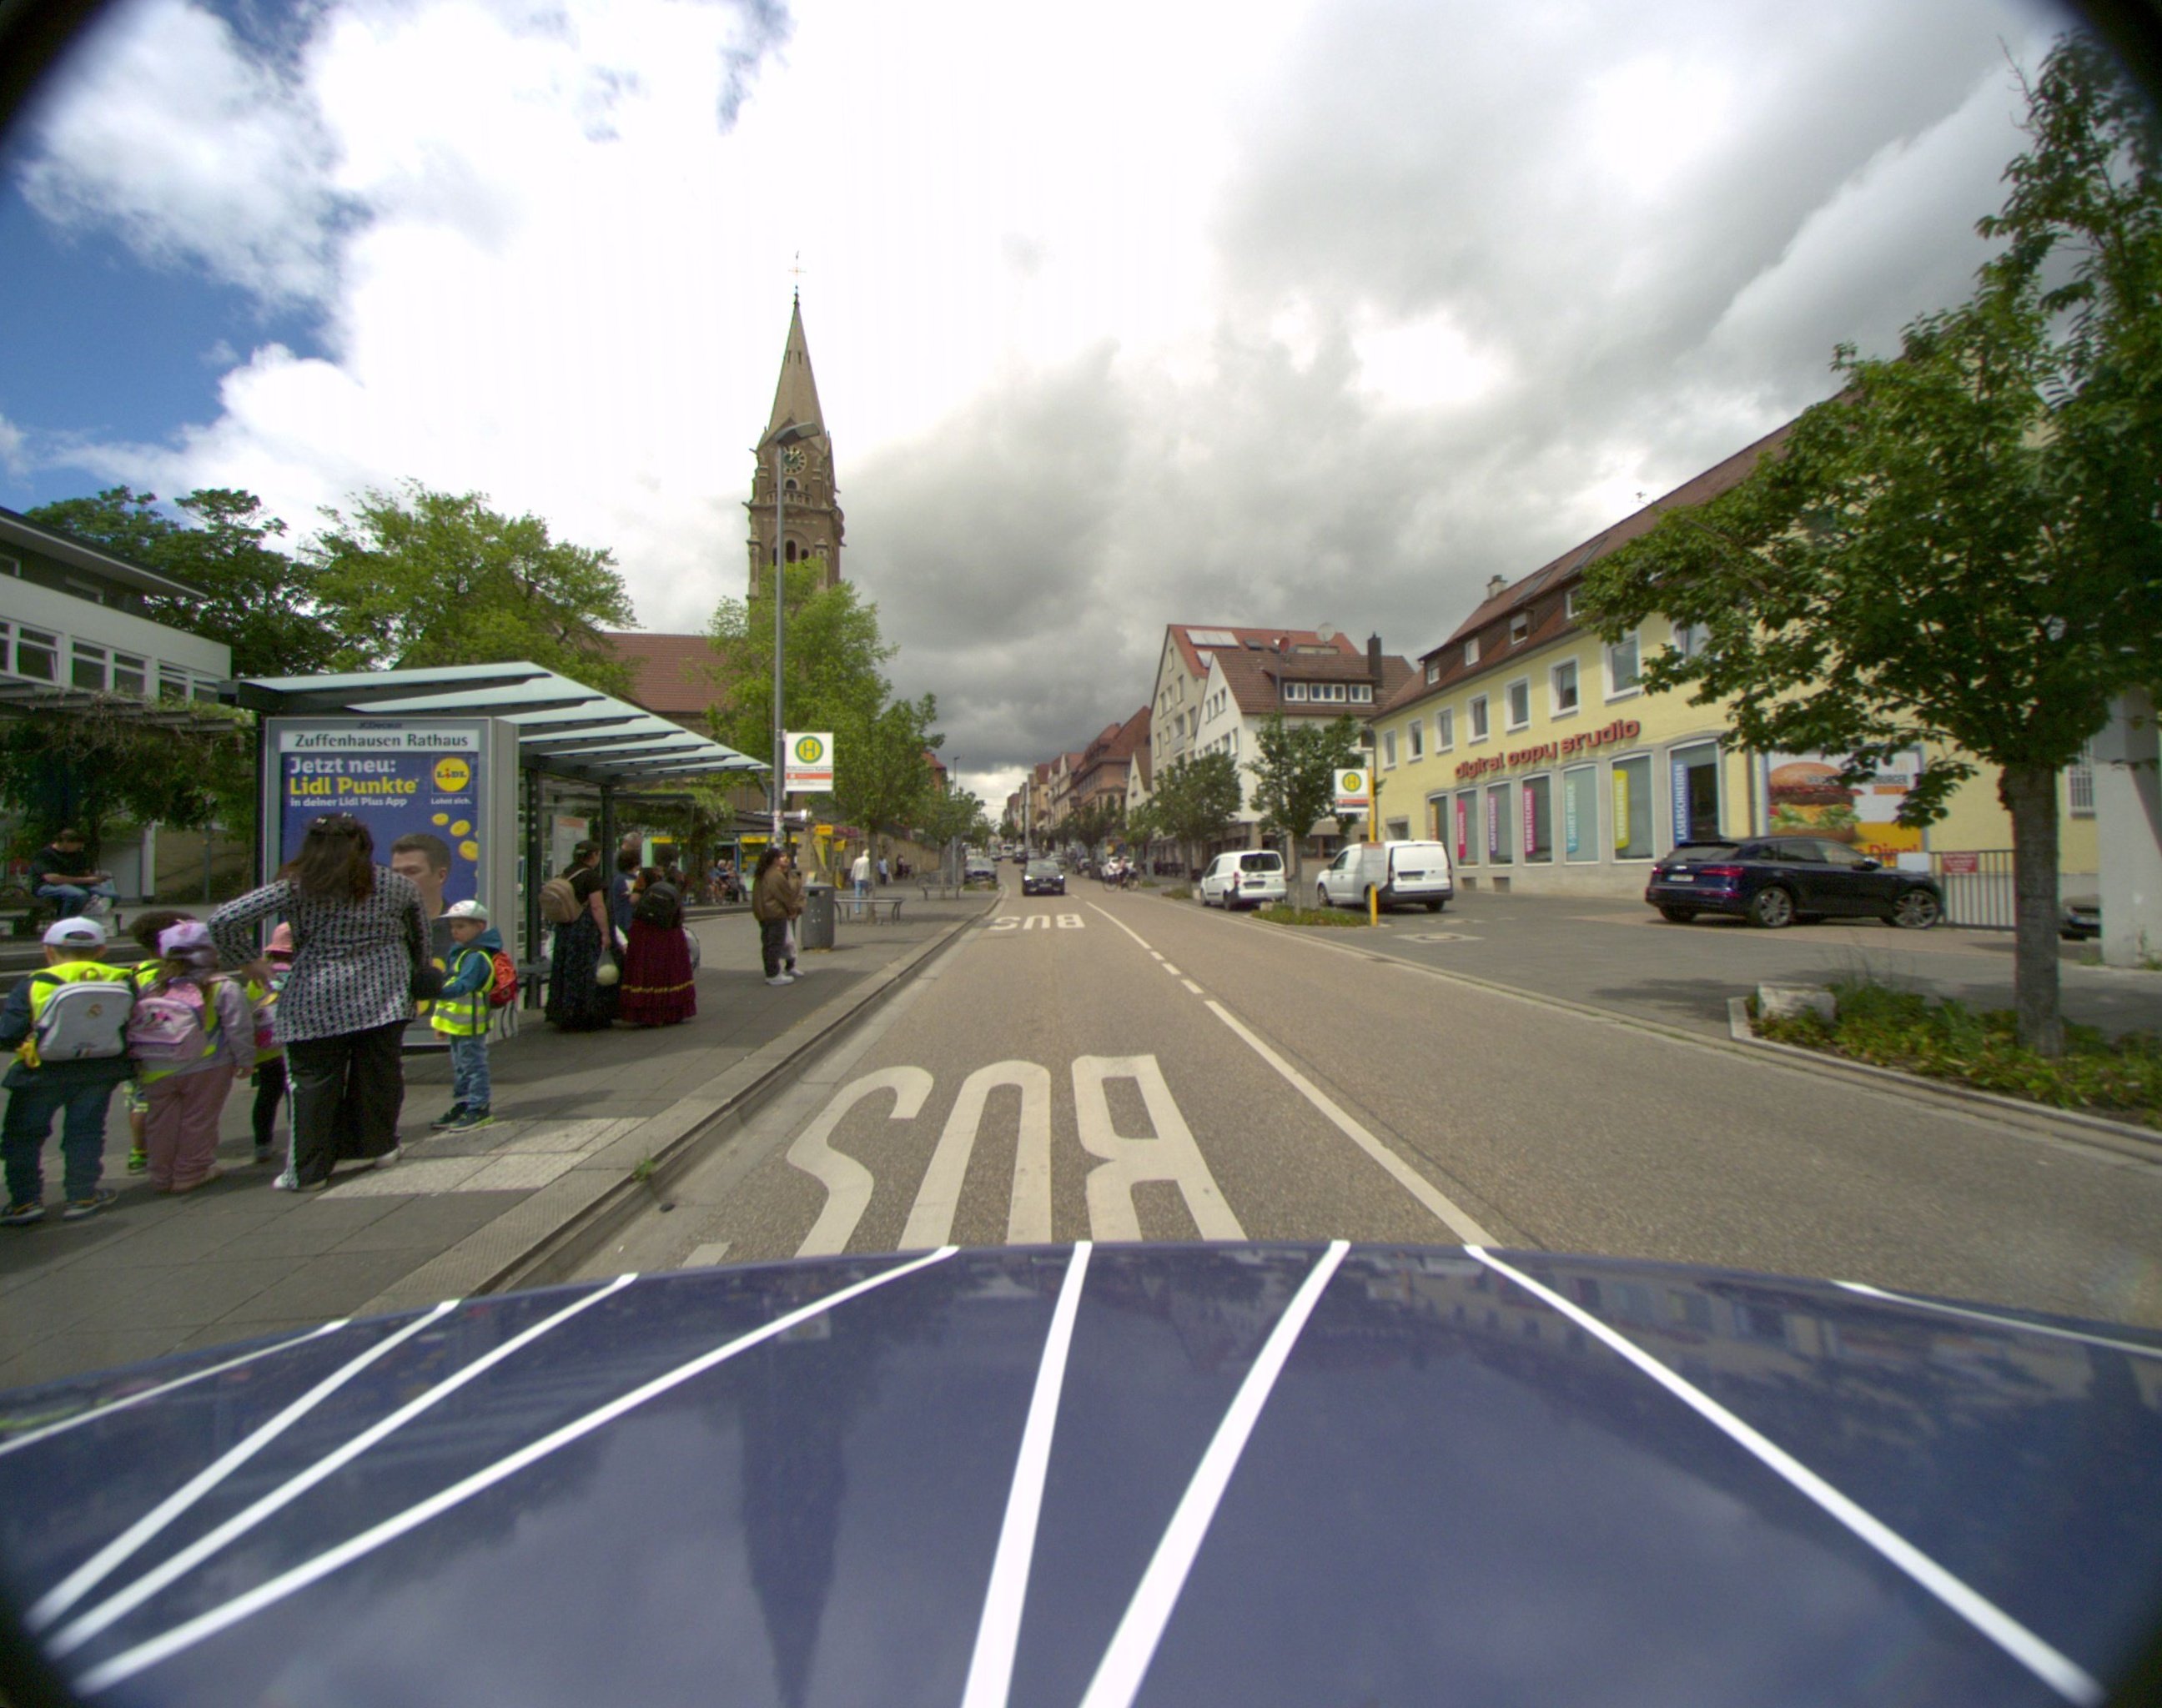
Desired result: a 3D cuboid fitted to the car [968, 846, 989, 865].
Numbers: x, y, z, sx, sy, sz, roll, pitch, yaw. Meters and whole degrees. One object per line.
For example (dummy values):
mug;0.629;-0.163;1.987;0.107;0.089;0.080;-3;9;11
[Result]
car;-10.722;0.141;79.916;1.890;1.837;5.027;0;2;-4

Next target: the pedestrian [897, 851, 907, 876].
pedestrian;-12.078;0.654;51.278;0.474;1.636;0.506;0;2;3

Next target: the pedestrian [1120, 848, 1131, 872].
pedestrian;3.313;0.429;56.845;0.662;1.751;0.777;-1;2;-11

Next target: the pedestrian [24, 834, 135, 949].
pedestrian;-11.853;0.435;9.006;0.569;1.316;0.546;-2;0;7

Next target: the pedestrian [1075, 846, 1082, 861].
pedestrian;-0.265;-0.059;83.657;0.615;1.573;0.641;-1;2;-11

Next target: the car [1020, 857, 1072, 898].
car;-1.614;1.022;34.081;1.896;1.516;3.731;-2;2;-9

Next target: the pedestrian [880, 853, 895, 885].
pedestrian;-10.459;0.817;41.028;0.763;1.720;0.597;1;0;-17

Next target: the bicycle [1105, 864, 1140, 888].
bicycle;1.970;1.054;36.192;1.656;1.081;0.412;-1;3;-24

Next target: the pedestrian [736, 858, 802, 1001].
pedestrian;-3.515;0.816;8.562;0.542;1.540;0.487;0;0;41

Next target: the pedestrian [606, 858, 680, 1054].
pedestrian;-3.657;0.810;6.370;0.502;1.557;0.496;0;0;-27

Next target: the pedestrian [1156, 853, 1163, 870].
pedestrian;5.771;0.535;56.005;0.396;1.242;0.499;-2;1;-8

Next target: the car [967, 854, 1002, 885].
car;-5.848;0.870;45.675;1.935;1.714;4.569;0;0;-9

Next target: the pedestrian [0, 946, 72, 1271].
pedestrian;-4.064;0.952;2.878;0.253;1.167;0.250;1;1;-45

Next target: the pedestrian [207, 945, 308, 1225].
pedestrian;-3.725;1.010;3.443;0.297;1.145;0.294;1;1;43

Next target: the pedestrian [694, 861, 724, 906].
pedestrian;-10.618;0.837;21.704;0.569;1.254;0.542;0;-2;1

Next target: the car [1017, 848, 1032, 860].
car;-6.709;0.017;89.652;1.612;1.380;3.626;0;1;-7

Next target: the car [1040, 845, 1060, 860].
car;-3.580;-0.208;87.002;1.670;1.518;3.958;-3;2;-10

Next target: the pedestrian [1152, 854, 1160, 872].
pedestrian;5.392;0.630;54.429;0.422;1.292;0.453;-2;1;-8

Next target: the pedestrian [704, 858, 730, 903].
pedestrian;-10.671;0.780;22.272;0.499;1.312;0.525;0;-2;1

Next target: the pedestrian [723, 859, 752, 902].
pedestrian;-10.681;0.825;23.652;0.617;1.312;0.586;0;-2;0

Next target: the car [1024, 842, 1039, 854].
car;-7.052;-0.871;107.983;1.733;1.670;3.987;-1;2;-9

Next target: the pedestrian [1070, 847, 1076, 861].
pedestrian;-0.901;-0.007;83.678;0.497;1.469;0.528;-1;2;-11

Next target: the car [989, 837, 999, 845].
car;-18.984;-2.889;165.798;1.832;1.680;3.854;0;2;-9

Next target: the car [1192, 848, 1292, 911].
car;4.777;0.696;23.190;1.661;1.662;4.348;-2;0;-7

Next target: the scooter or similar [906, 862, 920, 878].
scooter or similar;-11.359;1.058;51.357;0.814;1.066;0.560;0;2;3

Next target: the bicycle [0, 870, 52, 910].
bicycle;-31.532;1.042;21.923;2.031;1.135;0.686;2;-2;-36

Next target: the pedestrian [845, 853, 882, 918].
pedestrian;-5.709;0.819;20.004;0.686;1.672;0.715;0;1;8

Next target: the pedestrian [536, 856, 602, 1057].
pedestrian;-4.118;0.793;6.131;0.395;1.557;0.351;0;0;-27

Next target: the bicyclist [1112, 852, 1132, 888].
bicyclist;1.954;0.740;36.163;0.779;1.685;0.509;-1;1;-24

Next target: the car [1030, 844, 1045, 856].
car;-5.774;-0.585;100.357;1.733;1.423;3.499;-1;2;-9

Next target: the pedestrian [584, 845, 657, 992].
pedestrian;-5.385;0.732;8.912;0.513;1.670;0.576;0;0;-3

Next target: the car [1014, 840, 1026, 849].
car;-10.030;-1.585;125.035;1.691;1.516;3.525;-1;2;-9

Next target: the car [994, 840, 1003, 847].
car;-16.686;-2.115;153.376;1.687;1.492;4.149;0;2;-9

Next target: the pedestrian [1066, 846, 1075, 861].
pedestrian;-1.176;-0.054;85.267;0.873;1.657;0.905;-1;2;-11

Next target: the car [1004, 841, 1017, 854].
car;-10.234;-1.007;110.433;1.752;1.792;4.208;1;1;-7

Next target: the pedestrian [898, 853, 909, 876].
pedestrian;-11.825;0.712;50.619;0.590;1.515;0.584;0;1;5

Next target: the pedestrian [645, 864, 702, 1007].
pedestrian;-4.231;0.830;7.903;0.378;1.434;0.415;1;0;-9

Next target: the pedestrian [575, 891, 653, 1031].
pedestrian;-4.295;0.961;7.016;0.378;1.204;0.633;1;0;-9

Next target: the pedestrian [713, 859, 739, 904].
pedestrian;-10.703;0.828;22.901;0.496;1.312;0.575;0;-2;0

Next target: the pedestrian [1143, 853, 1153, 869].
pedestrian;5.199;0.523;59.195;0.597;1.240;0.598;-2;2;-8

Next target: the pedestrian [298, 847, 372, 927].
pedestrian;-11.724;0.515;11.953;0.569;1.220;0.566;-2;0;7

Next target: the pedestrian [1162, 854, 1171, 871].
pedestrian;6.162;0.610;54.763;0.428;1.242;0.566;-2;1;-8

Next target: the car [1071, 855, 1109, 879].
car;0.584;0.887;53.971;1.845;1.443;4.510;-2;2;-11

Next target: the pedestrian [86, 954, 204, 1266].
pedestrian;-3.816;1.010;3.109;0.265;1.154;0.270;1;1;-43

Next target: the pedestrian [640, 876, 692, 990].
pedestrian;-4.898;0.919;8.978;0.390;1.298;0.355;1;0;-1

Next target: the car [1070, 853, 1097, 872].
car;0.176;0.711;63.154;1.662;1.384;4.439;-1;2;-7

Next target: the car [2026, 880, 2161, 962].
car;21.072;1.228;14.623;3.998;1.401;1.649;0;0;-4

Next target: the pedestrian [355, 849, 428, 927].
pedestrian;-11.614;0.553;12.798;0.769;1.262;0.678;-1;0;30

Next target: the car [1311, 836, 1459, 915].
car;7.913;0.509;20.302;1.761;1.803;4.474;-3;0;-6

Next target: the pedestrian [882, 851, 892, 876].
pedestrian;-12.672;0.617;49.611;0.474;1.636;0.506;0;2;3

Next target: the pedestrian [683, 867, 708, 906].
pedestrian;-10.769;0.903;21.229;0.477;1.082;0.368;0;-2;1

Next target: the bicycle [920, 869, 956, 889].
bicycle;-7.177;1.245;38.139;1.733;0.990;0.345;0;1;-12

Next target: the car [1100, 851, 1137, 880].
car;2.303;0.656;47.359;1.670;1.637;4.131;-2;1;-6

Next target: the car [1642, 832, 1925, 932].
car;12.358;0.454;13.502;3.638;1.549;1.668;-2;1;-5

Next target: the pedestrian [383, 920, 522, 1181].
pedestrian;-3.220;0.969;3.906;0.403;1.219;0.389;0;0;19

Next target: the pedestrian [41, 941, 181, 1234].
pedestrian;-4.204;0.974;3.308;0.319;1.145;0.321;1;0;-42

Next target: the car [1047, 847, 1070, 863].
car;-2.441;0.074;79.732;1.731;1.565;4.449;-1;2;-10

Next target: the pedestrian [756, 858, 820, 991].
pedestrian;-3.510;0.814;9.114;0.513;1.540;0.488;0;0;23

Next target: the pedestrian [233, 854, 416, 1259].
pedestrian;-3.300;0.811;3.325;0.387;1.610;0.470;1;0;30

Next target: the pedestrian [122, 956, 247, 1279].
pedestrian;-3.505;0.997;2.974;0.275;1.145;0.249;1;0;26
